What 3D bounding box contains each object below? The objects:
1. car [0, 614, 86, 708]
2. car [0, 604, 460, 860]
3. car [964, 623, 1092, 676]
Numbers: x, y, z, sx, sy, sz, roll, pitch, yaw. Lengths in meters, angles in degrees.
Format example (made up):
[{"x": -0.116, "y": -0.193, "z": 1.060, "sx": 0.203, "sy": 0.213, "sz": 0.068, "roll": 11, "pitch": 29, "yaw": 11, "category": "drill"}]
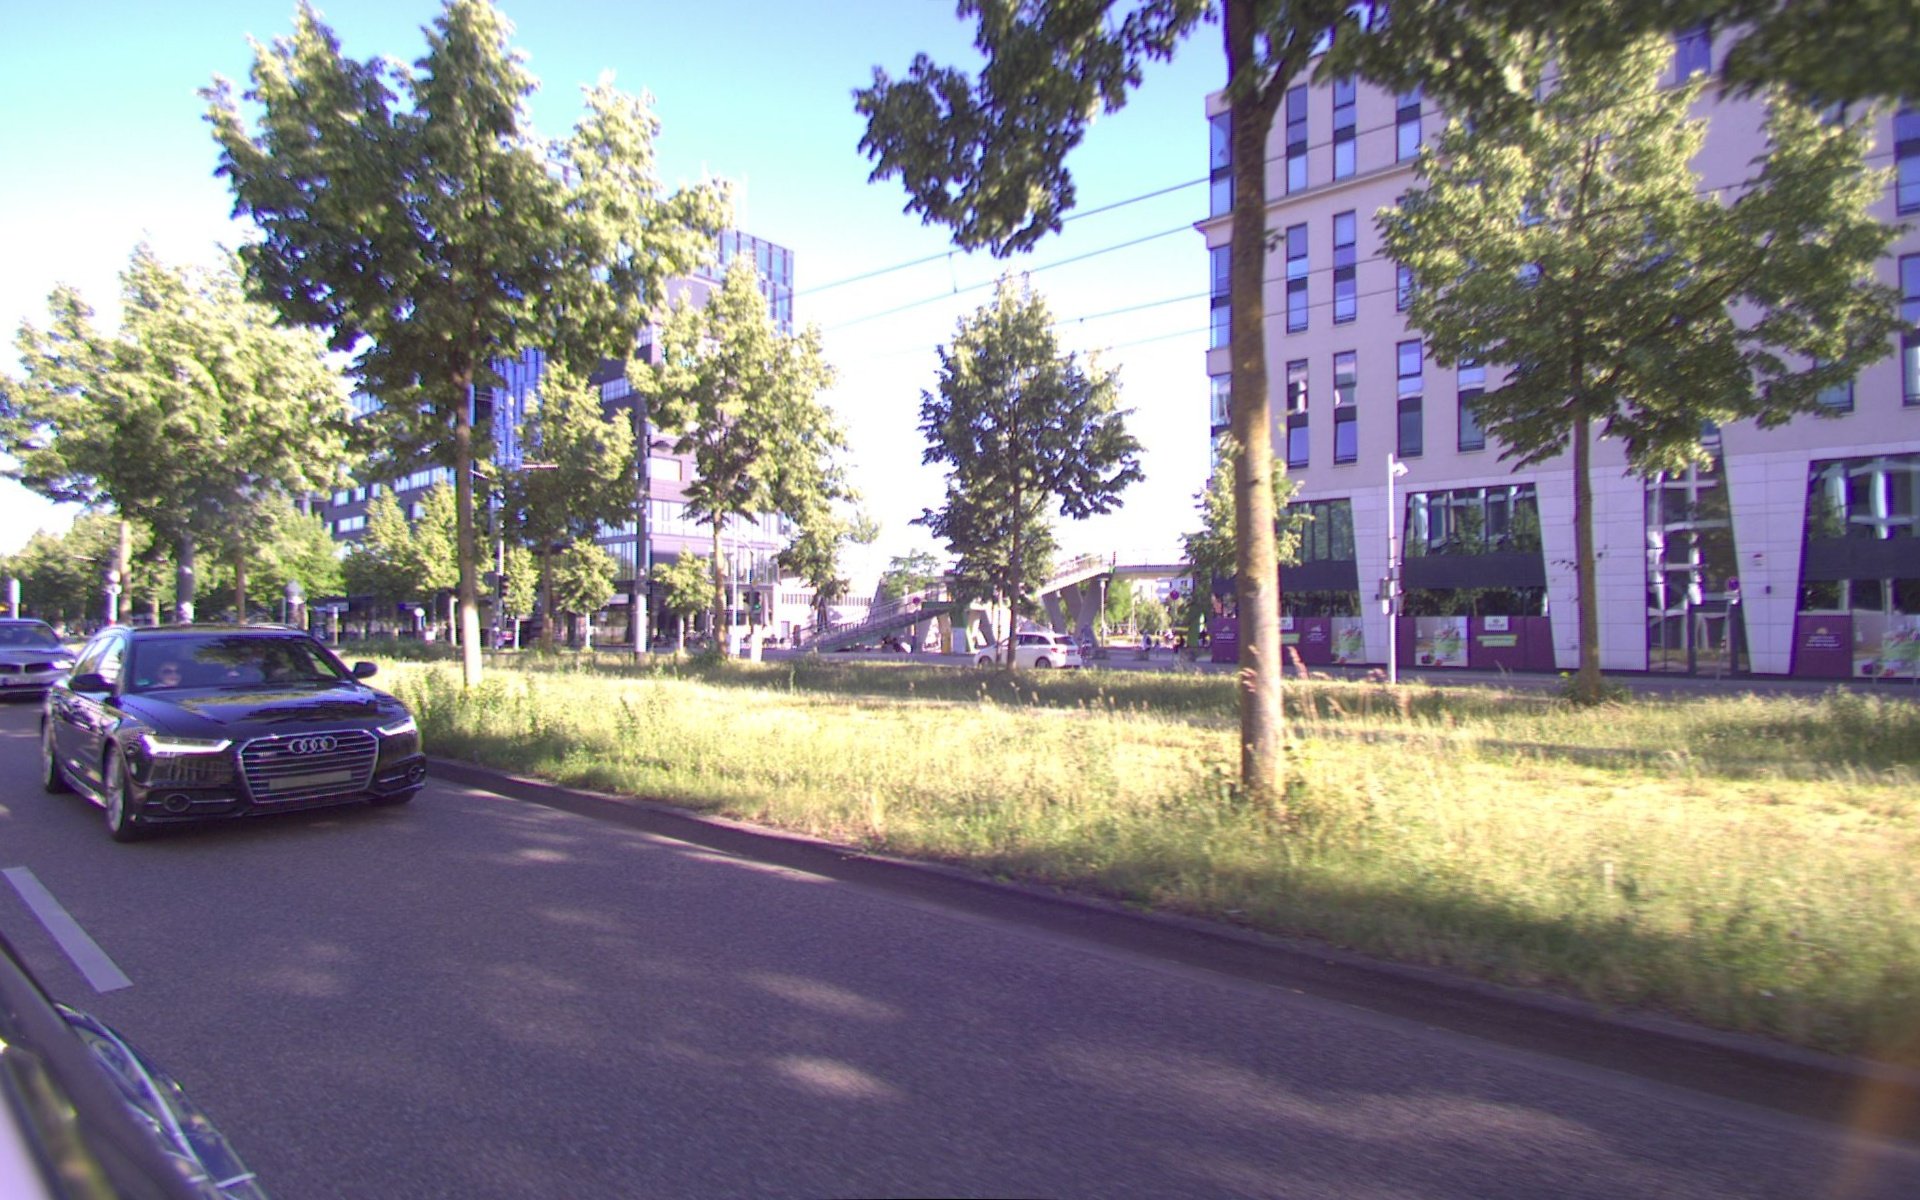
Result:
[{"x": -17.909, "y": 1.082, "z": 18.885, "sx": 4.276, "sy": 1.590, "sz": 1.862, "roll": -1, "pitch": 0, "yaw": 41, "category": "car"}, {"x": -6.238, "y": 0.874, "z": 8.293, "sx": 5.079, "sy": 1.492, "sz": 1.933, "roll": -3, "pitch": -3, "yaw": 39, "category": "car"}, {"x": 2.535, "y": 1.815, "z": 38.279, "sx": 4.416, "sy": 1.822, "sz": 2.080, "roll": -1, "pitch": 0, "yaw": 39, "category": "car"}]
